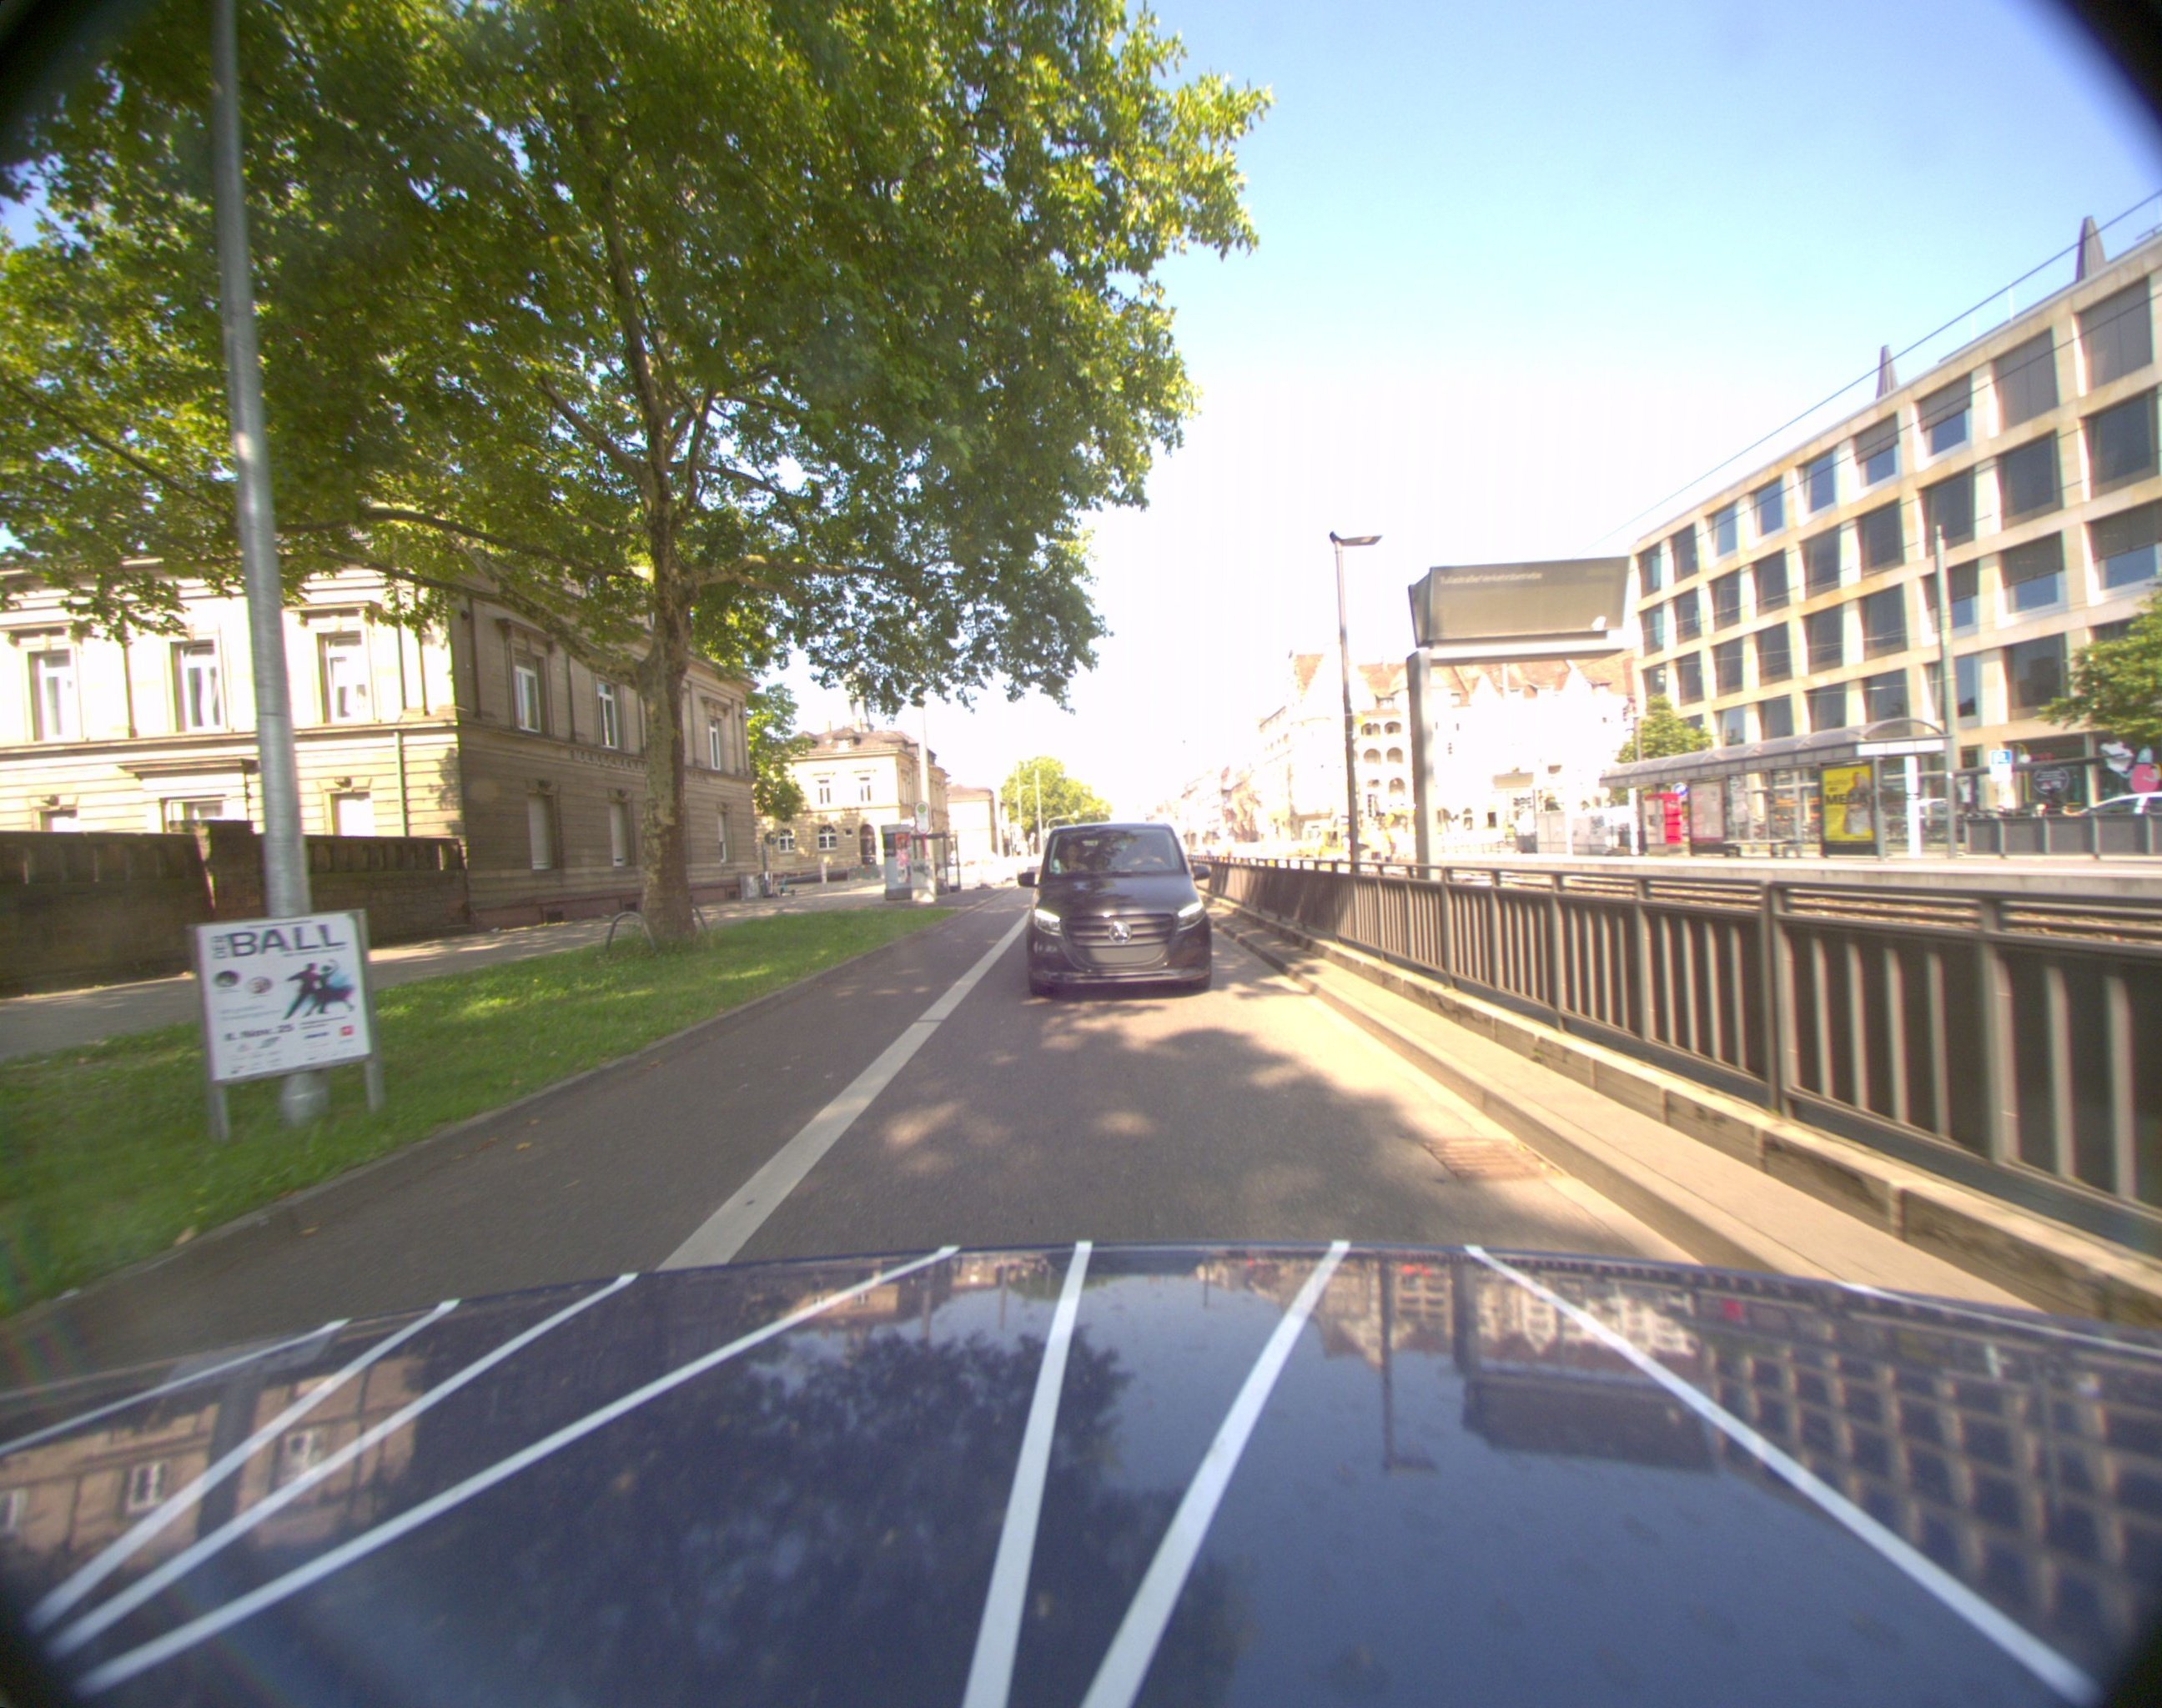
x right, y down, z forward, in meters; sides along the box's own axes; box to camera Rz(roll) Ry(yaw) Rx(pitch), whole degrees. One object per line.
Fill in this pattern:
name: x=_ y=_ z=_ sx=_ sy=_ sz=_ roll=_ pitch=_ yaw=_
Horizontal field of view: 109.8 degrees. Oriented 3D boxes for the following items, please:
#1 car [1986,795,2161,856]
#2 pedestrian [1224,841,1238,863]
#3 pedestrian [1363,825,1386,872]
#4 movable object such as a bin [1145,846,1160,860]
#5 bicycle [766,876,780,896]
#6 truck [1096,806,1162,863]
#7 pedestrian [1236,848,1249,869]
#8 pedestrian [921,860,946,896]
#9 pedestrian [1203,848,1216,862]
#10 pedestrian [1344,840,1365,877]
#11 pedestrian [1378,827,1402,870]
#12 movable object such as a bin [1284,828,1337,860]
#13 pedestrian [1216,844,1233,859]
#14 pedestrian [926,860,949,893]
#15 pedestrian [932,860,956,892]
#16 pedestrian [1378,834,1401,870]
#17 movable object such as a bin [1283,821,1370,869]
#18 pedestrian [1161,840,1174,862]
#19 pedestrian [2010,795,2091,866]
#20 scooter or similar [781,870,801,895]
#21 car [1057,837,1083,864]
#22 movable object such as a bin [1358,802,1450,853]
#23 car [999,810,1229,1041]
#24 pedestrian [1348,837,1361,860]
car: x=25.657 y=-0.716 z=18.731 sx=1.906 sy=1.395 sz=4.000 roll=-3 pitch=0 yaw=1
pedestrian: x=10.702 y=-0.142 z=54.110 sx=0.816 sy=1.557 sz=0.557 roll=-3 pitch=1 yaw=19
pedestrian: x=12.413 y=-0.249 z=32.149 sx=0.724 sy=1.939 sz=0.789 roll=-3 pitch=1 yaw=16
movable object such as a bin: x=8.385 y=-0.153 z=89.469 sx=1.604 sy=1.550 sz=3.286 roll=-3 pitch=1 yaw=3
bicycle: x=-16.531 y=1.729 z=40.758 sx=0.493 sy=0.993 sz=1.816 roll=-3 pitch=-2 yaw=-17
truck: x=3.568 y=-1.385 z=58.822 sx=2.801 sy=3.890 sz=8.411 roll=-5 pitch=0 yaw=-11
pedestrian: x=12.351 y=0.312 z=58.087 sx=0.703 sy=1.557 sz=0.556 roll=-3 pitch=1 yaw=-27
pedestrian: x=-5.893 y=0.947 z=30.434 sx=0.752 sy=1.358 sz=0.611 roll=-5 pitch=2 yaw=1
pedestrian: x=8.875 y=0.067 z=52.506 sx=0.821 sy=0.920 sz=0.513 roll=-3 pitch=1 yaw=11
pedestrian: x=12.636 y=0.195 z=35.083 sx=0.667 sy=1.653 sz=0.773 roll=-2 pitch=1 yaw=35
pedestrian: x=13.238 y=-0.236 z=32.547 sx=0.627 sy=1.805 sz=0.639 roll=-3 pitch=1 yaw=-31
movable object such as a bin: x=22.171 y=-0.965 z=73.335 sx=4.824 sy=2.818 sz=2.443 roll=-4 pitch=1 yaw=-36
pedestrian: x=9.999 y=-0.200 z=52.924 sx=0.932 sy=0.982 sz=0.513 roll=-3 pitch=1 yaw=36
pedestrian: x=-5.873 y=0.929 z=31.101 sx=0.742 sy=1.254 sz=0.611 roll=-5 pitch=2 yaw=1
pedestrian: x=-5.745 y=0.898 z=31.882 sx=0.742 sy=1.254 sz=0.611 roll=-5 pitch=2 yaw=1
pedestrian: x=13.787 y=-0.078 z=33.945 sx=0.641 sy=1.545 sz=0.625 roll=-3 pitch=1 yaw=-25
movable object such as a bin: x=17.658 y=-0.711 z=55.411 sx=3.622 sy=2.941 sz=8.475 roll=-5 pitch=2 yaw=2
pedestrian: x=6.344 y=-0.221 z=55.702 sx=0.762 sy=1.557 sz=0.691 roll=-3 pitch=1 yaw=1
pedestrian: x=24.021 y=-0.564 z=18.841 sx=0.838 sy=1.667 sz=0.880 roll=-3 pitch=1 yaw=8
scooter or similar: x=-15.208 y=1.481 z=39.882 sx=0.426 sy=1.221 sz=1.174 roll=-3 pitch=1 yaw=8
car: x=-1.167 y=-0.396 z=75.463 sx=2.213 sy=2.410 sz=7.196 roll=-3 pitch=1 yaw=-3
movable object such as a bin: x=30.777 y=-2.550 z=72.886 sx=7.368 sy=4.323 sz=4.973 roll=-3 pitch=2 yaw=15
car: x=0.413 y=0.584 z=8.548 sx=1.852 sy=1.875 sz=4.179 roll=-3 pitch=1 yaw=4
pedestrian: x=21.006 y=-0.416 z=58.363 sx=0.832 sy=1.739 sz=0.669 roll=-3 pitch=1 yaw=20
